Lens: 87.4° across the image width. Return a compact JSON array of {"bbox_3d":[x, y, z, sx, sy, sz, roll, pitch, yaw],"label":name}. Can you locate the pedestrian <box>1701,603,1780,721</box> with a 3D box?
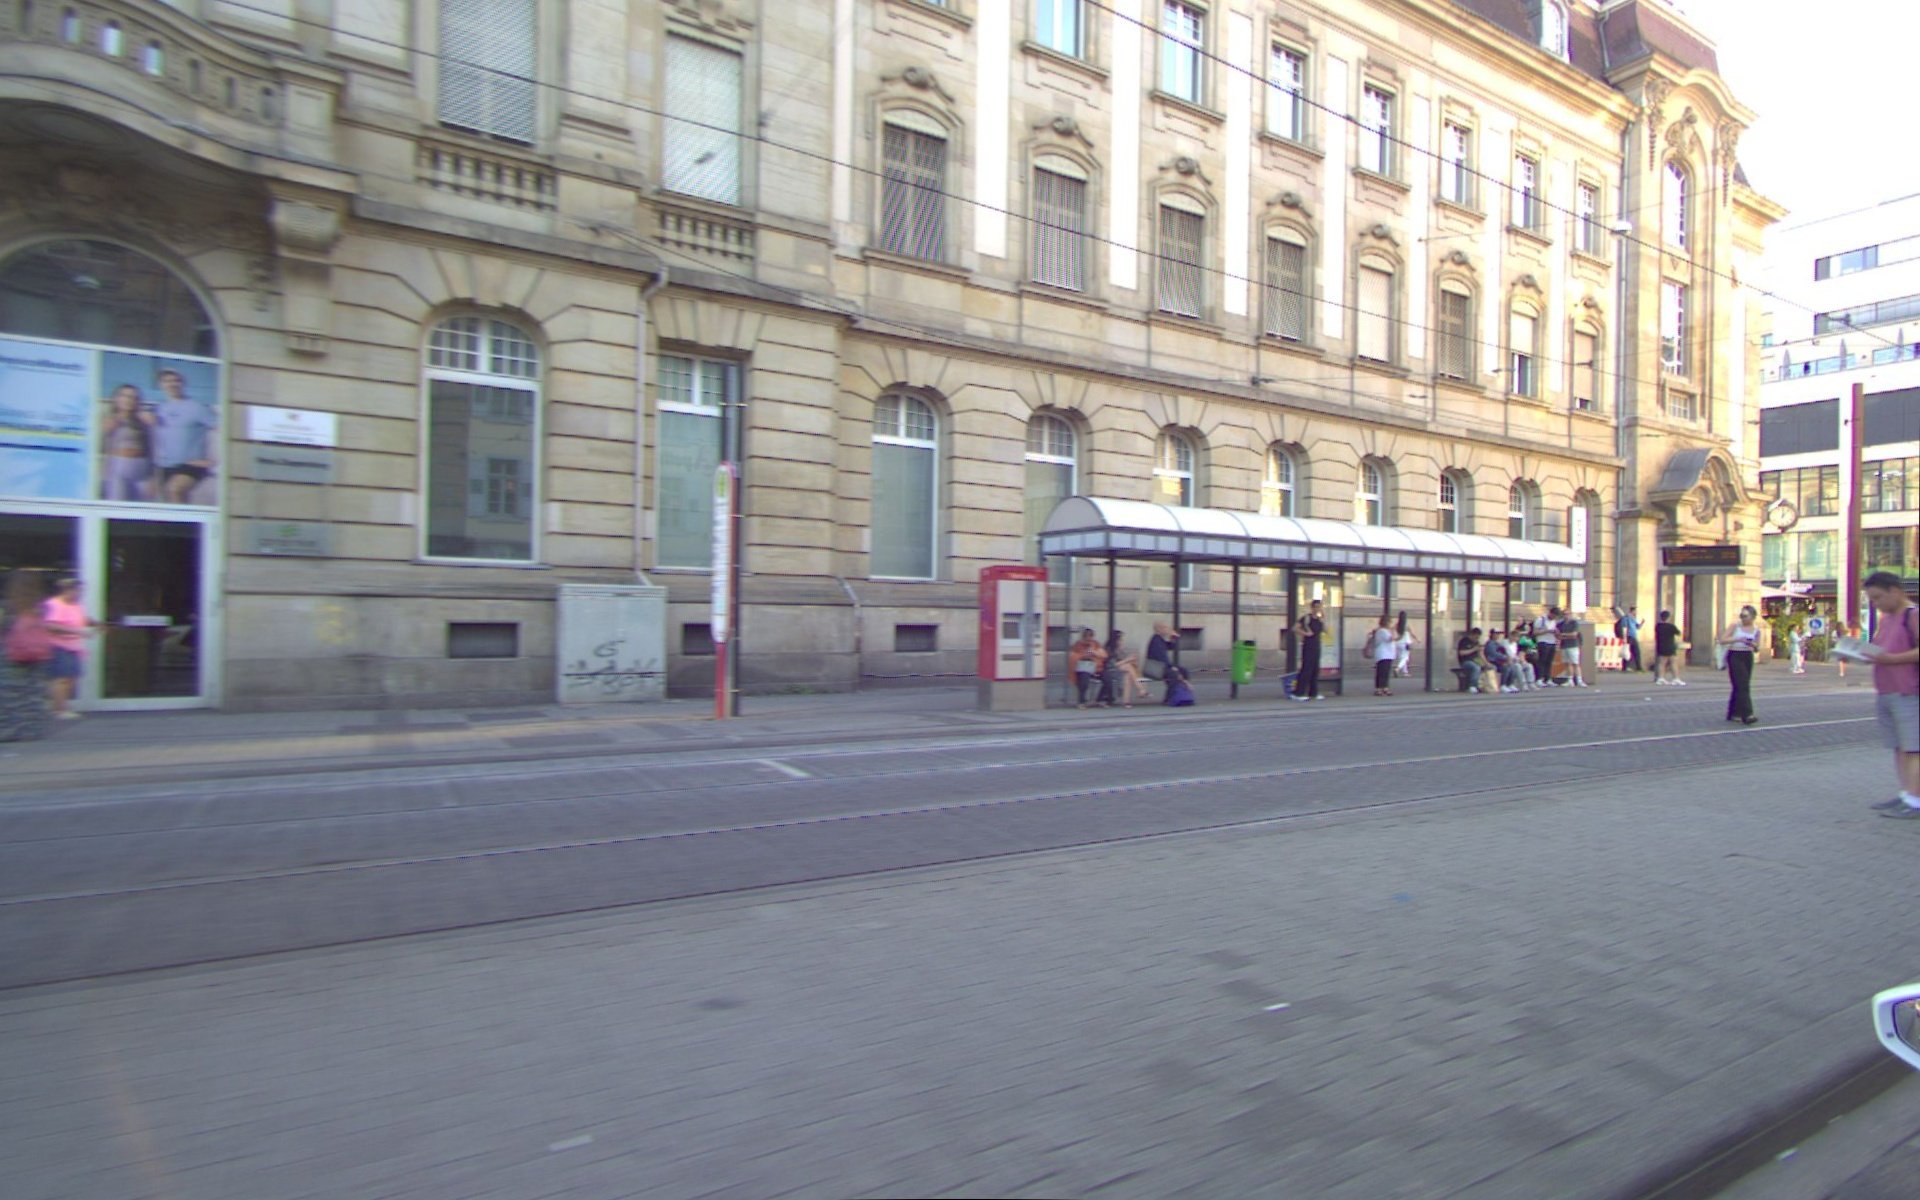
[{"bbox_3d":[11.672,0.919,15.037,0.626,1.713,0.675,2,-1,-11],"label":"pedestrian"}]

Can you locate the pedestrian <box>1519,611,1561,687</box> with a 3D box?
[{"bbox_3d":[12.915,1.094,22.377,0.630,1.667,0.516,2,-1,-27],"label":"pedestrian"}]

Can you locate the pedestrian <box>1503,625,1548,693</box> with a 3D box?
[{"bbox_3d":[11.460,1.199,20.354,0.630,1.345,0.516,2,-1,-27],"label":"pedestrian"}]

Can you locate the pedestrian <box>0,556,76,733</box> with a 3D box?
[{"bbox_3d":[-8.809,0.412,9.518,0.566,1.627,0.436,2,0,-35],"label":"pedestrian"}]

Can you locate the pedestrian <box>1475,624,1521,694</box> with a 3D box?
[{"bbox_3d":[10.690,1.170,19.969,0.630,1.345,0.516,2,-1,-27],"label":"pedestrian"}]

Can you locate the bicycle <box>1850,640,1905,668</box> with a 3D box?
[{"bbox_3d":[37.973,2.241,41.582,0.624,1.118,1.609,3,-2,-35],"label":"bicycle"}]

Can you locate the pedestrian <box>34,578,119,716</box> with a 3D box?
[{"bbox_3d":[-10.051,0.521,11.430,0.532,1.510,0.592,2,0,36],"label":"pedestrian"}]

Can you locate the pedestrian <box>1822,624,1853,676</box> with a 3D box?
[{"bbox_3d":[26.852,1.529,30.732,0.495,1.545,0.525,1,0,-20],"label":"pedestrian"}]

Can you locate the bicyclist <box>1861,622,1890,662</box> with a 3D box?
[{"bbox_3d":[37.947,1.729,41.648,0.604,1.614,0.783,2,-1,-37],"label":"bicyclist"}]

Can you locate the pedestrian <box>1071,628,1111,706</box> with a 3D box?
[{"bbox_3d":[1.934,0.976,14.808,0.424,1.117,0.363,2,0,-25],"label":"pedestrian"}]

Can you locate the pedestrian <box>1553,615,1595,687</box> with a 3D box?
[{"bbox_3d":[13.733,1.141,22.473,0.630,1.590,0.516,2,-1,-27],"label":"pedestrian"}]

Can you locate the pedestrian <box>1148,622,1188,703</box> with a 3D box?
[{"bbox_3d":[3.198,0.954,15.449,0.424,1.216,0.363,2,0,-25],"label":"pedestrian"}]

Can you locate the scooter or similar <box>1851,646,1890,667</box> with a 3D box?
[{"bbox_3d":[40.499,2.503,44.677,0.879,0.916,1.088,1,-1,-29],"label":"scooter or similar"}]

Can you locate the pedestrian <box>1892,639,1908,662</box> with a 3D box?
[{"bbox_3d":[41.499,2.215,44.353,0.413,0.978,0.420,1,0,-29],"label":"pedestrian"}]

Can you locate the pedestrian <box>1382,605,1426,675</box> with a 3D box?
[{"bbox_3d":[10.684,0.954,24.188,0.624,1.636,0.695,2,0,-32],"label":"pedestrian"}]

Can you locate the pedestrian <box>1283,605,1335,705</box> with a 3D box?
[{"bbox_3d":[5.957,0.927,17.162,0.628,1.672,0.517,2,-1,-20],"label":"pedestrian"}]

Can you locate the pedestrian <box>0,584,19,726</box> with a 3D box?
[{"bbox_3d":[-10.131,0.560,10.274,0.560,1.459,0.441,2,0,6],"label":"pedestrian"}]

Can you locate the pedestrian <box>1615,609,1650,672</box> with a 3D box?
[{"bbox_3d":[19.522,1.158,29.172,0.699,1.800,0.616,1,0,-34],"label":"pedestrian"}]

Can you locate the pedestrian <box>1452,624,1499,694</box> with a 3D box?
[{"bbox_3d":[10.044,1.145,19.571,0.630,1.345,0.516,2,-1,-27],"label":"pedestrian"}]

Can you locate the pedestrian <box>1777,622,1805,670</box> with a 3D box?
[{"bbox_3d":[27.069,1.501,32.716,0.512,1.545,0.499,1,0,-21],"label":"pedestrian"}]

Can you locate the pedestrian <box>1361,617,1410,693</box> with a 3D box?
[{"bbox_3d":[7.775,0.996,18.345,0.630,1.345,0.516,2,-1,-27],"label":"pedestrian"}]

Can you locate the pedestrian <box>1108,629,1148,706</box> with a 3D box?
[{"bbox_3d":[2.505,0.997,14.975,0.424,1.117,0.363,2,0,-25],"label":"pedestrian"}]

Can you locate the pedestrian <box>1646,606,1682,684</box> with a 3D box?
[{"bbox_3d":[16.590,1.056,23.663,0.464,1.800,0.556,1,0,-35],"label":"pedestrian"}]

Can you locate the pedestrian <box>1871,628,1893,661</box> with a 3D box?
[{"bbox_3d":[41.202,2.000,44.892,0.413,1.439,0.636,1,0,-29],"label":"pedestrian"}]

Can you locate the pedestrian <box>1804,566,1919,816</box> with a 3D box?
[{"bbox_3d":[6.581,0.613,6.978,0.843,1.659,0.688,1,0,10],"label":"pedestrian"}]
